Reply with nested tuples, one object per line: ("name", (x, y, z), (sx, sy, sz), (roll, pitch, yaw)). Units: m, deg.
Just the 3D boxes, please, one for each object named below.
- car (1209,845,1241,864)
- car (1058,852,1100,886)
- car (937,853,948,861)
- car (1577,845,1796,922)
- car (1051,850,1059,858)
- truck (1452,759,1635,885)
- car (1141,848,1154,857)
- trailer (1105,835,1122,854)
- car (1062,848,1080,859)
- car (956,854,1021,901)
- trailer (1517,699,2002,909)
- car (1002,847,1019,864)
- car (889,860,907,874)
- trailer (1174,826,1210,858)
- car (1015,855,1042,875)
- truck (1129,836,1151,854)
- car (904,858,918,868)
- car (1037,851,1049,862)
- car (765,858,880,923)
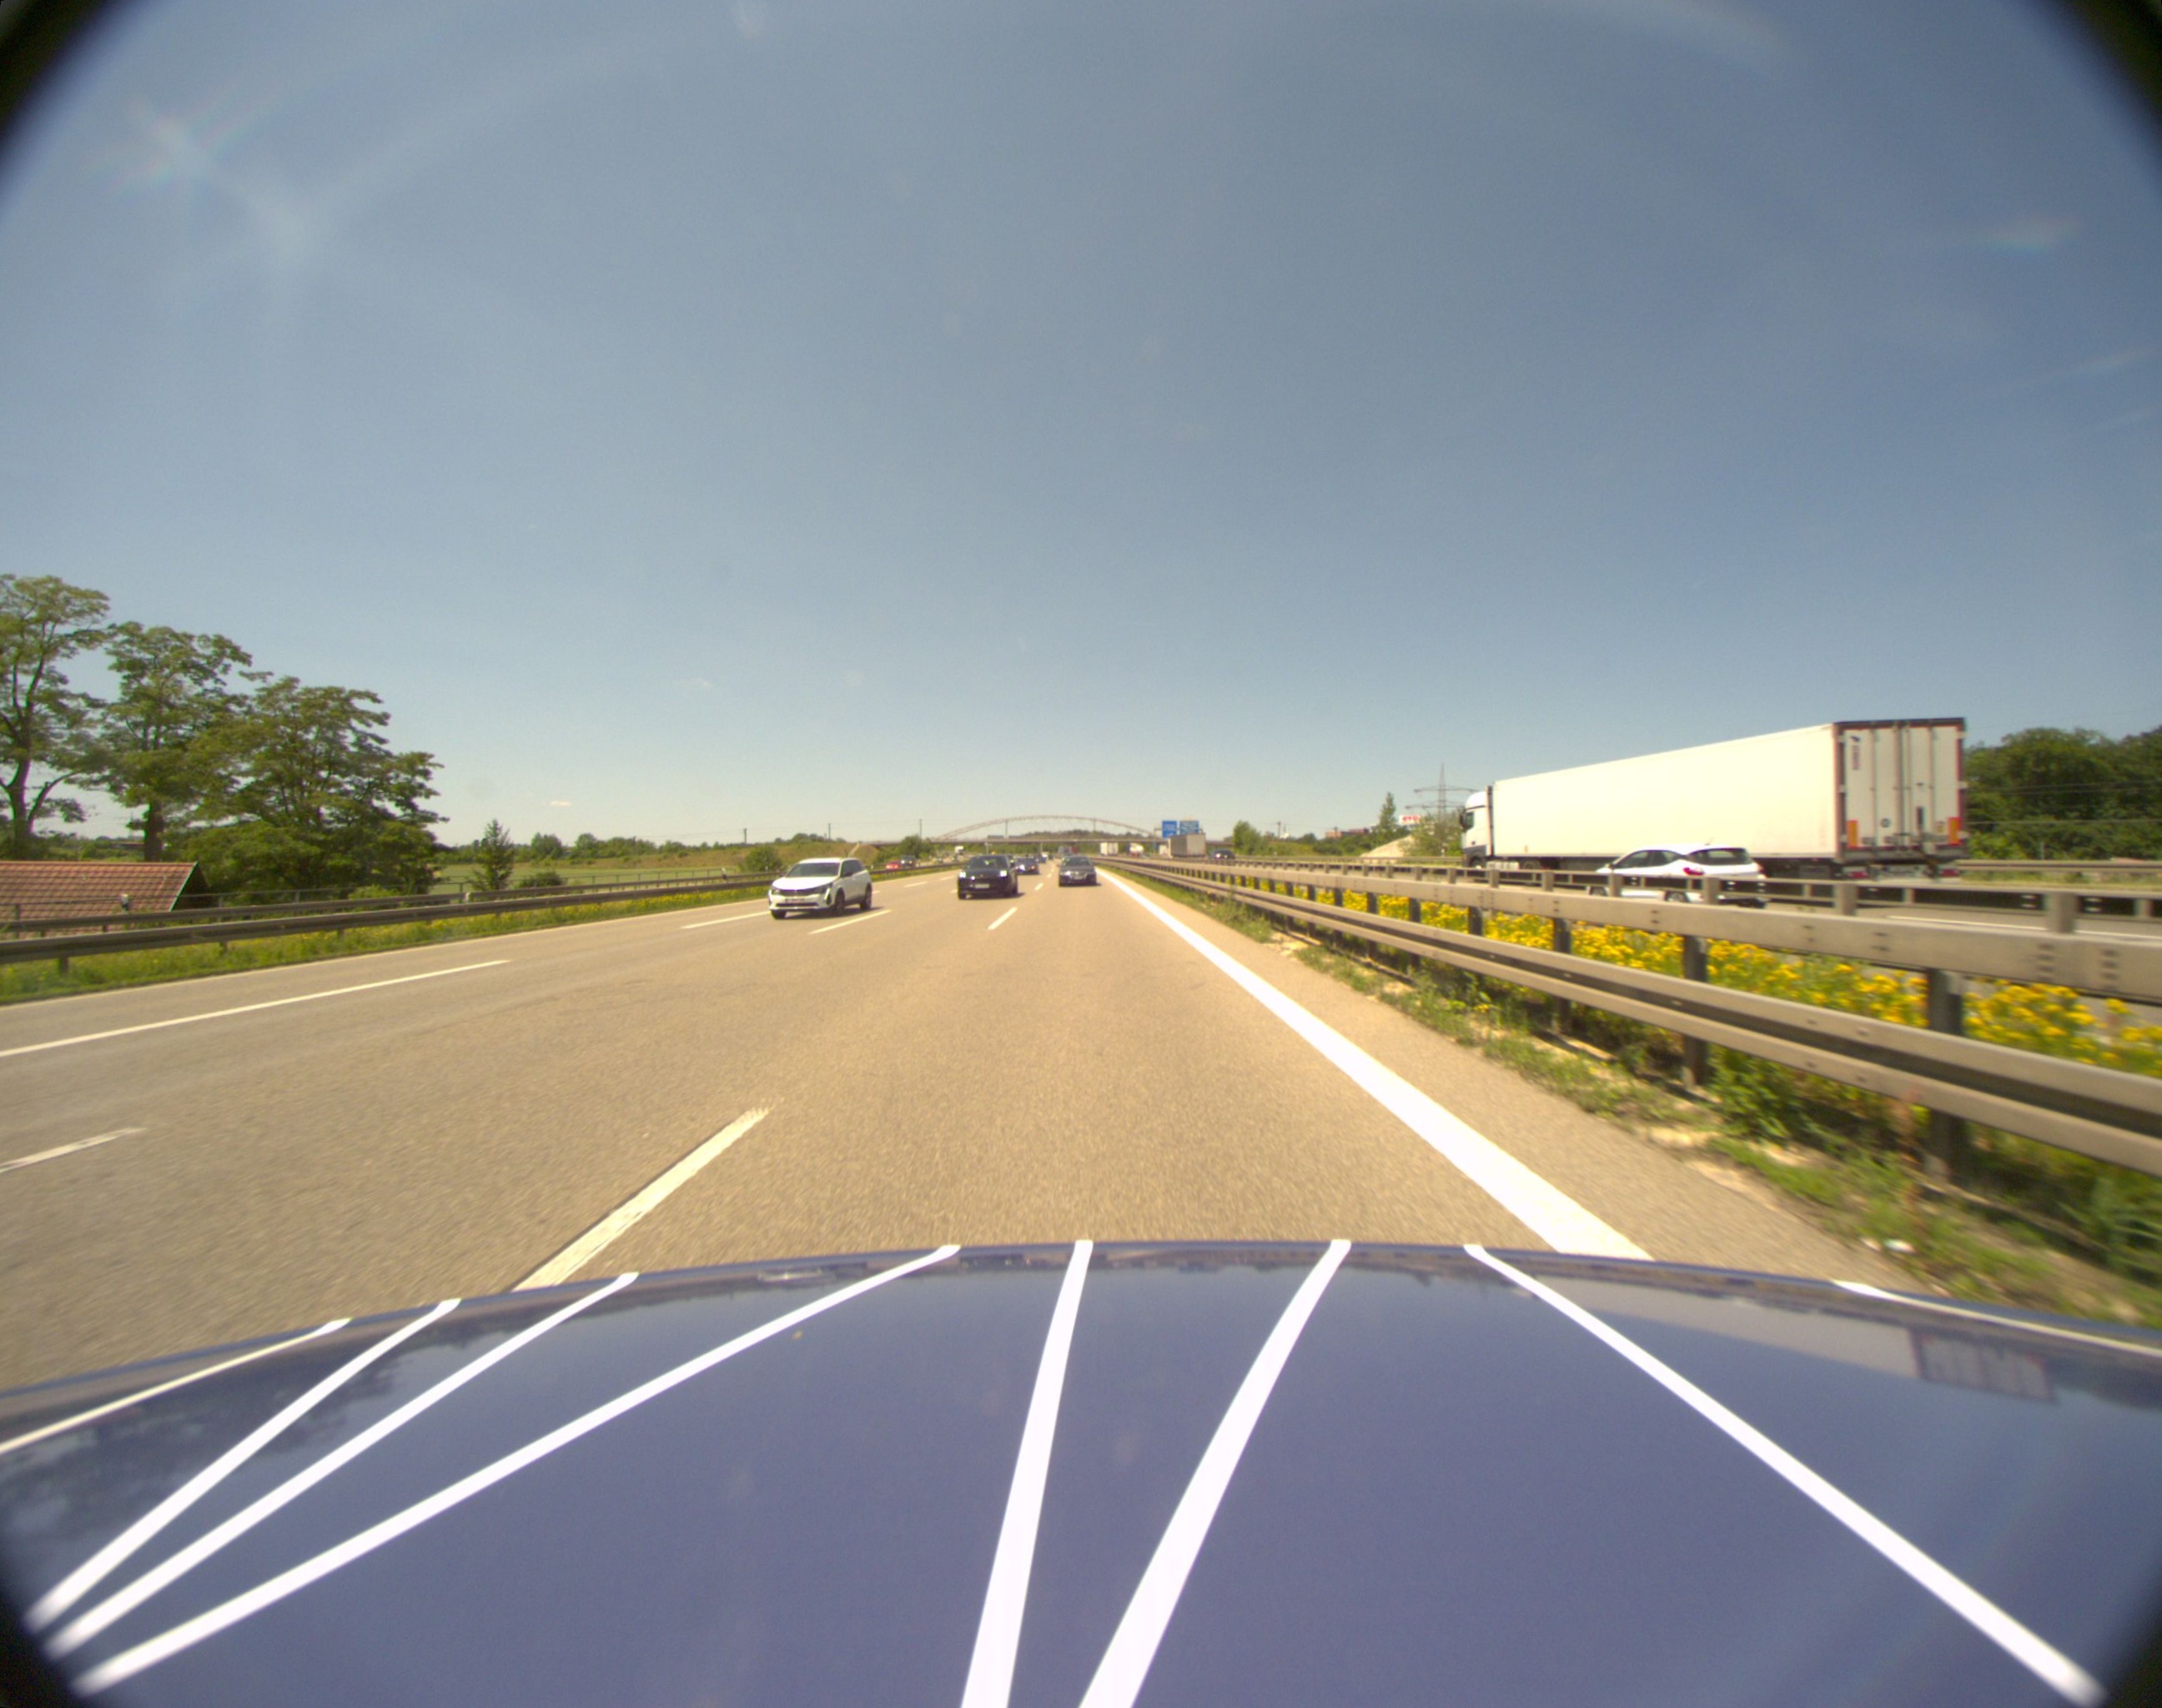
("car", (12.914, 0.047, 68.287), (1.998, 1.635, 4.663), (-2, 0, 0))
("car", (-0.106, 0.698, 37.415), (1.931, 1.499, 4.390), (-1, 1, 0))
("car", (-30.381, 0.588, 166.482), (1.704, 1.566, 4.126), (-2, 1, -3))
("car", (13.361, 0.583, 17.129), (1.746, 1.480, 4.007), (-2, 0, 0))
("car", (-6.340, 0.031, 184.636), (1.999, 1.849, 3.998), (-2, 1, -3))
("truck", (17.540, -1.116, 29.480), (3.042, 4.216, 6.684), (-2, 0, 1))
("car", (11.140, -0.242, 128.190), (1.710, 1.352, 4.497), (-2, 0, -1))
("trailer", (7.700, -2.269, 181.529), (2.963, 4.346, 10.729), (-2, 1, -3))
("car", (-1.330, -0.076, 97.069), (1.932, 1.390, 4.115), (-2, 1, -5))
("car", (-3.418, 0.829, 28.767), (1.931, 1.586, 4.131), (-1, 1, 0))
("trailer", (17.422, -1.063, 21.703), (3.042, 4.216, 12.248), (-2, 0, 1))
("car", (-8.397, 0.199, 90.961), (1.809, 1.908, 4.293), (-2, 1, -3))
("car", (-23.553, 1.643, 97.902), (1.705, 1.566, 4.125), (-2, 1, -6))
("trailer", (15.435, -1.637, 106.922), (2.898, 4.089, 12.583), (-2, 0, -1))
("car", (-4.072, 0.809, 59.475), (1.932, 1.390, 4.116), (-2, 1, -1))
("truck", (13.142, -2.025, 170.398), (3.227, 3.764, 12.897), (-2, 0, -3))
("car", (-27.646, 1.469, 123.450), (1.705, 1.566, 4.125), (-2, 1, -6))
("car", (-6.498, 0.433, 130.365), (1.925, 1.761, 3.999), (-2, 1, -1))
("car", (-7.404, 0.977, 22.275), (1.748, 1.582, 4.619), (-1, 1, 0))
